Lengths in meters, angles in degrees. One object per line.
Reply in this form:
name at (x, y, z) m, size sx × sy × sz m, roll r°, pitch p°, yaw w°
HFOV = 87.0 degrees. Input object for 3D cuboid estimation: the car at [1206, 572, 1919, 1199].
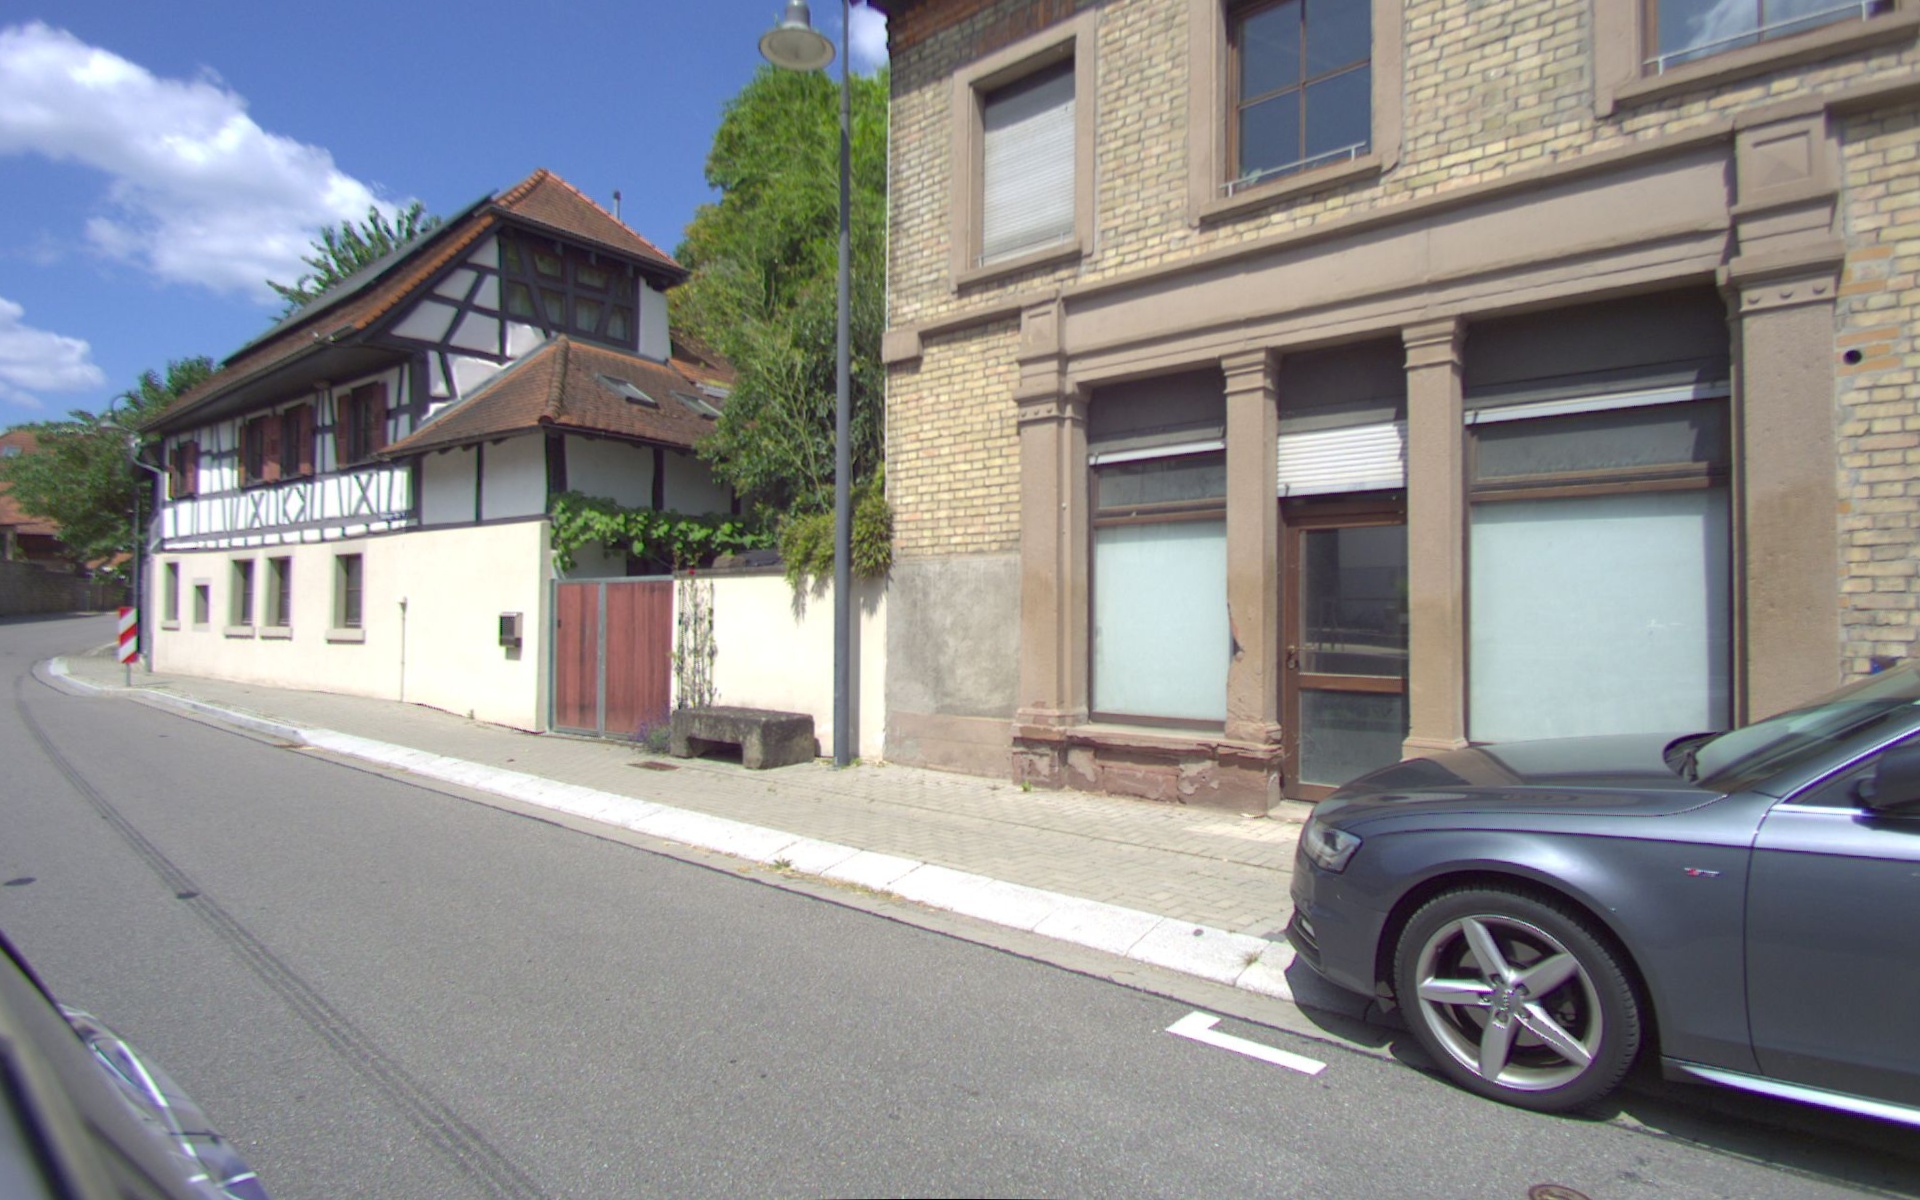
car at (3.181, 0.686, 2.704) m, size 4.543 × 1.477 × 1.936 m, roll 0°, pitch -1°, yaw 41°

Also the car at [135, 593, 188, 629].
car at (-38.305, 0.510, 48.608) m, size 1.676 × 1.476 × 4.447 m, roll 4°, pitch 0°, yaw -35°
